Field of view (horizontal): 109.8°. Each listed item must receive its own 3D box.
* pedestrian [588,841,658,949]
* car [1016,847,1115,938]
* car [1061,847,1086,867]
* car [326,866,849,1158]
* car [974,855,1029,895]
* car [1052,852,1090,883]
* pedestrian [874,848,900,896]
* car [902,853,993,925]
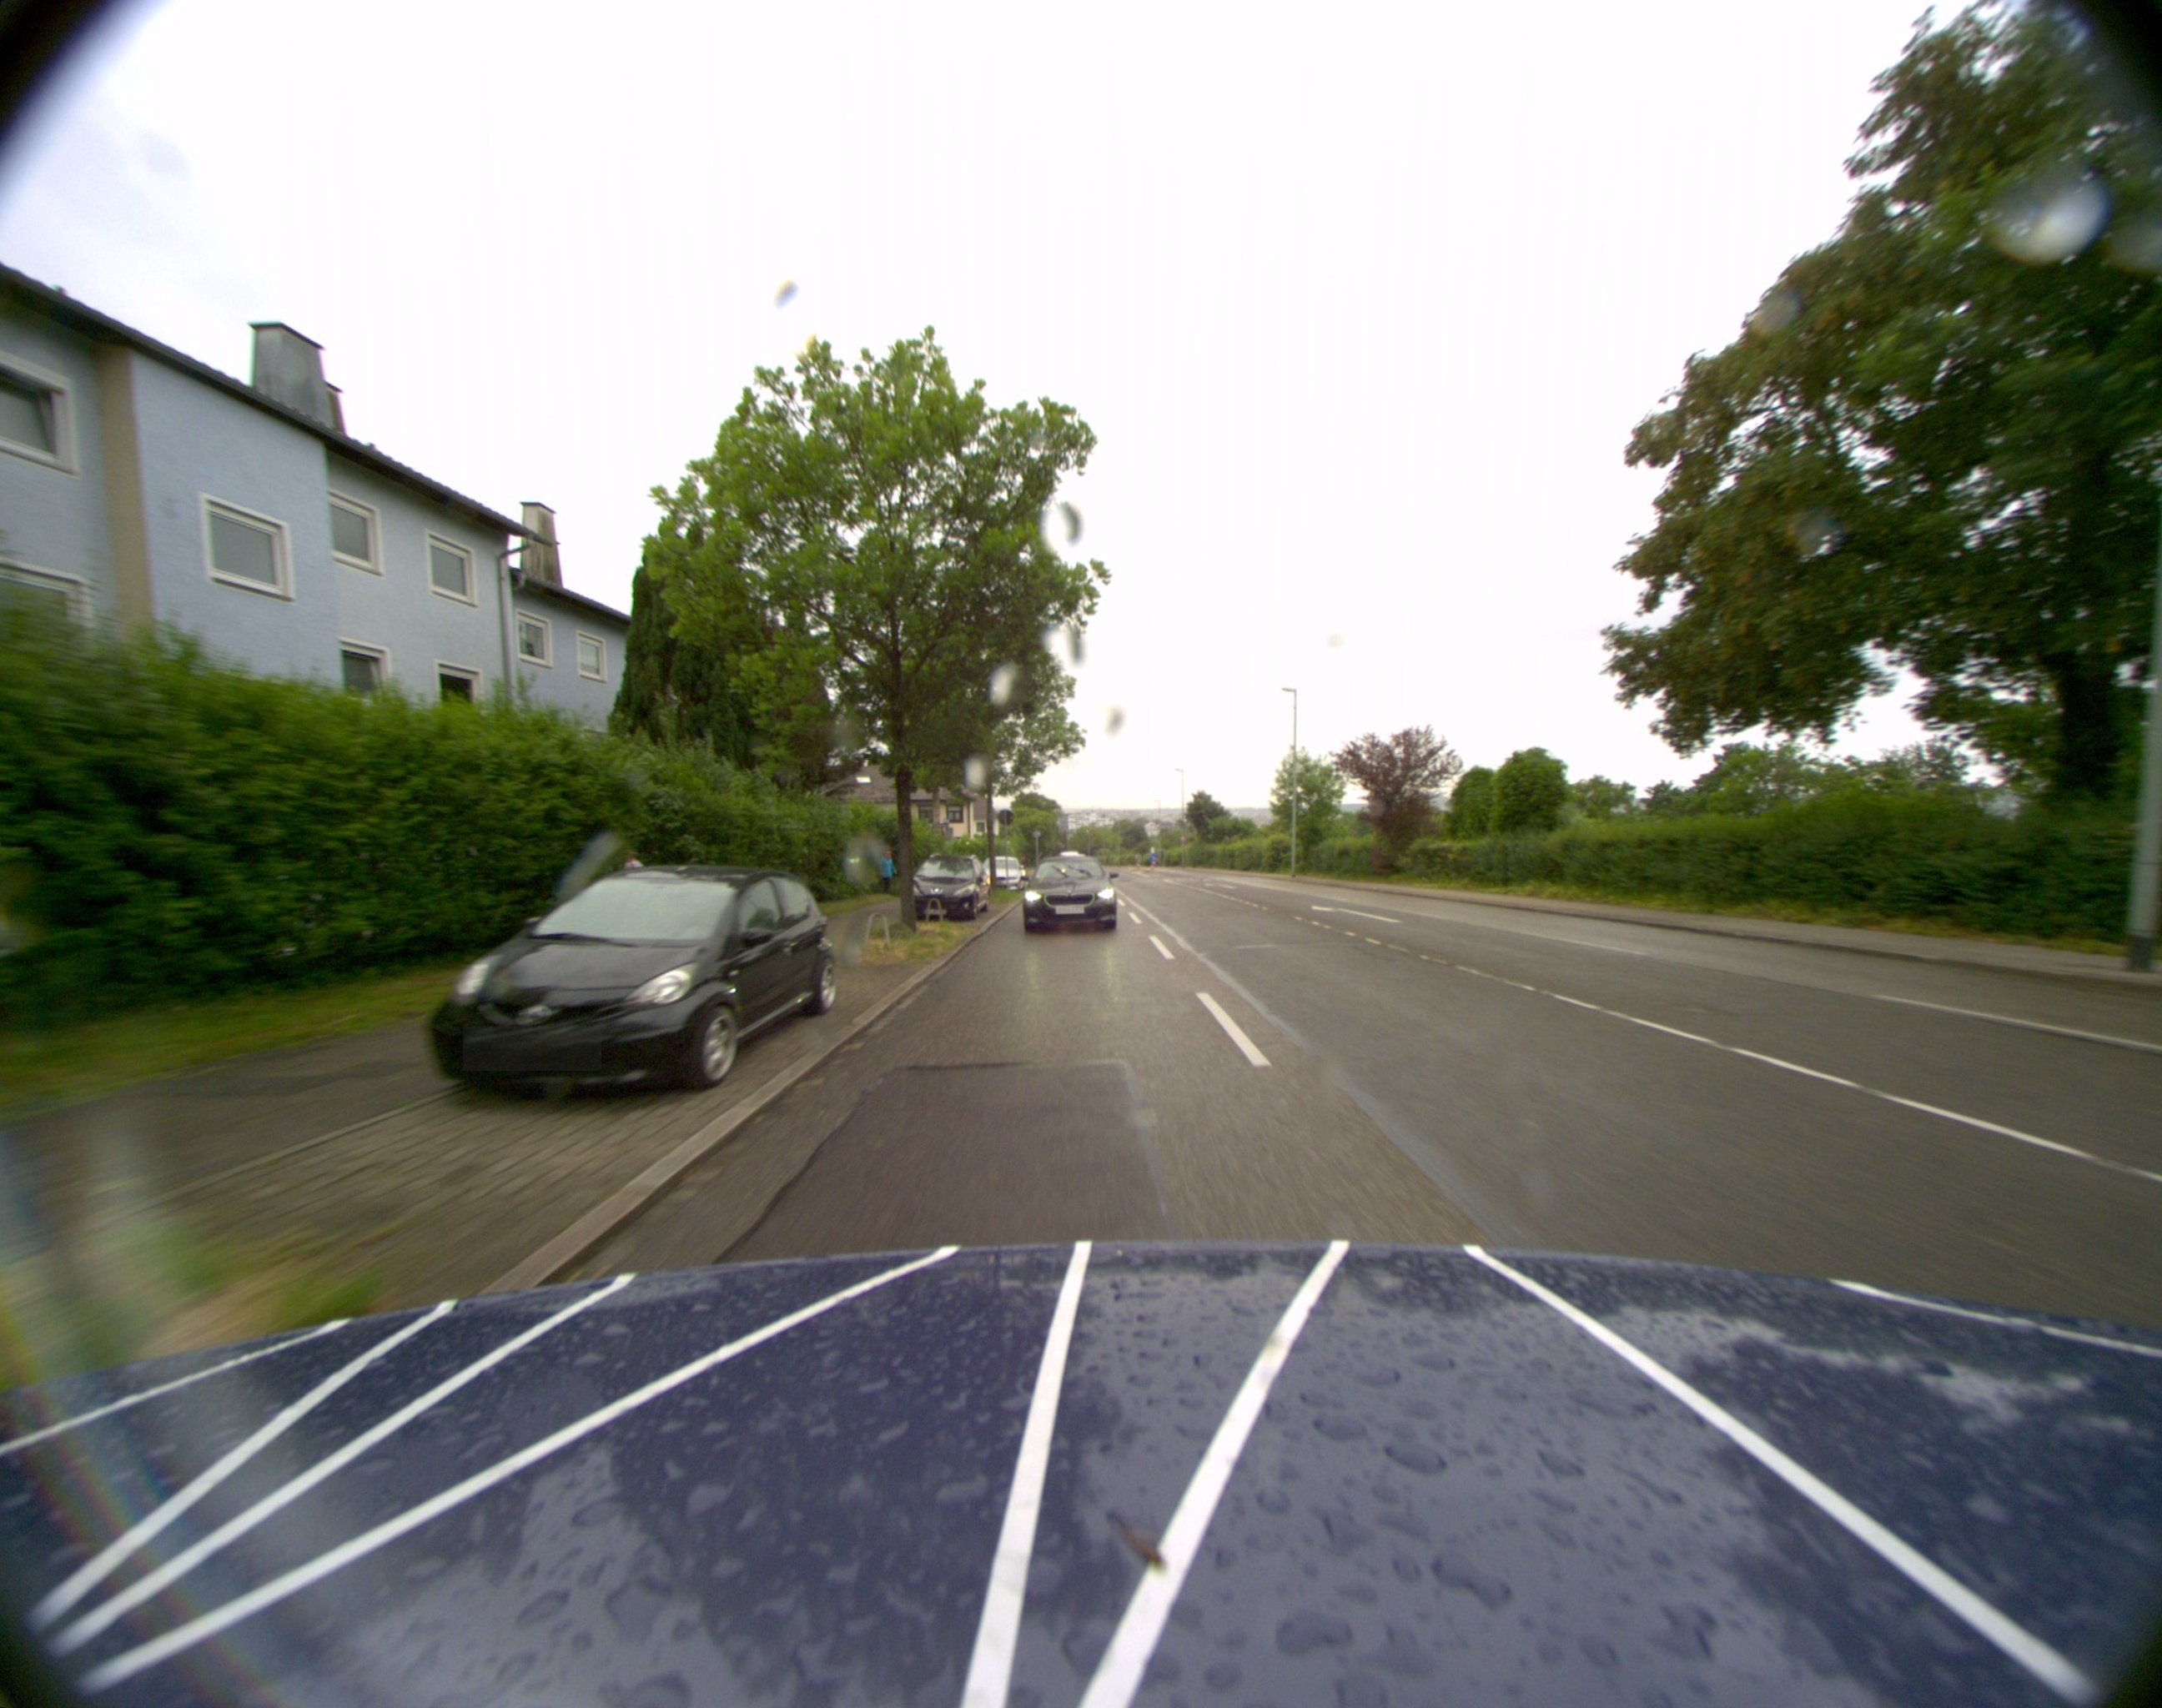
[{"bbox_3d":[-7.372,0.632,12.273,0.896,1.670,0.717,0,1,-26],"label":"pedestrian"},{"bbox_3d":[-0.248,0.724,16.740,1.828,1.668,4.296,-3,1,1],"label":"car"},{"bbox_3d":[-0.689,0.221,66.540,1.999,1.674,4.172,-1,1,-3],"label":"car"},{"bbox_3d":[-3.248,0.893,6.016,1.726,1.503,3.785,1,0,-1],"label":"car"},{"bbox_3d":[-3.205,0.809,31.510,1.803,1.513,4.590,1,0,0],"label":"car"},{"bbox_3d":[-0.639,0.729,44.233,1.999,1.674,4.172,-1,1,-3],"label":"car"},{"bbox_3d":[-6.803,0.620,26.691,0.709,1.670,0.654,0,1,7],"label":"pedestrian"},{"bbox_3d":[-3.249,0.791,19.200,1.646,1.586,4.013,1,0,-1],"label":"car"}]
